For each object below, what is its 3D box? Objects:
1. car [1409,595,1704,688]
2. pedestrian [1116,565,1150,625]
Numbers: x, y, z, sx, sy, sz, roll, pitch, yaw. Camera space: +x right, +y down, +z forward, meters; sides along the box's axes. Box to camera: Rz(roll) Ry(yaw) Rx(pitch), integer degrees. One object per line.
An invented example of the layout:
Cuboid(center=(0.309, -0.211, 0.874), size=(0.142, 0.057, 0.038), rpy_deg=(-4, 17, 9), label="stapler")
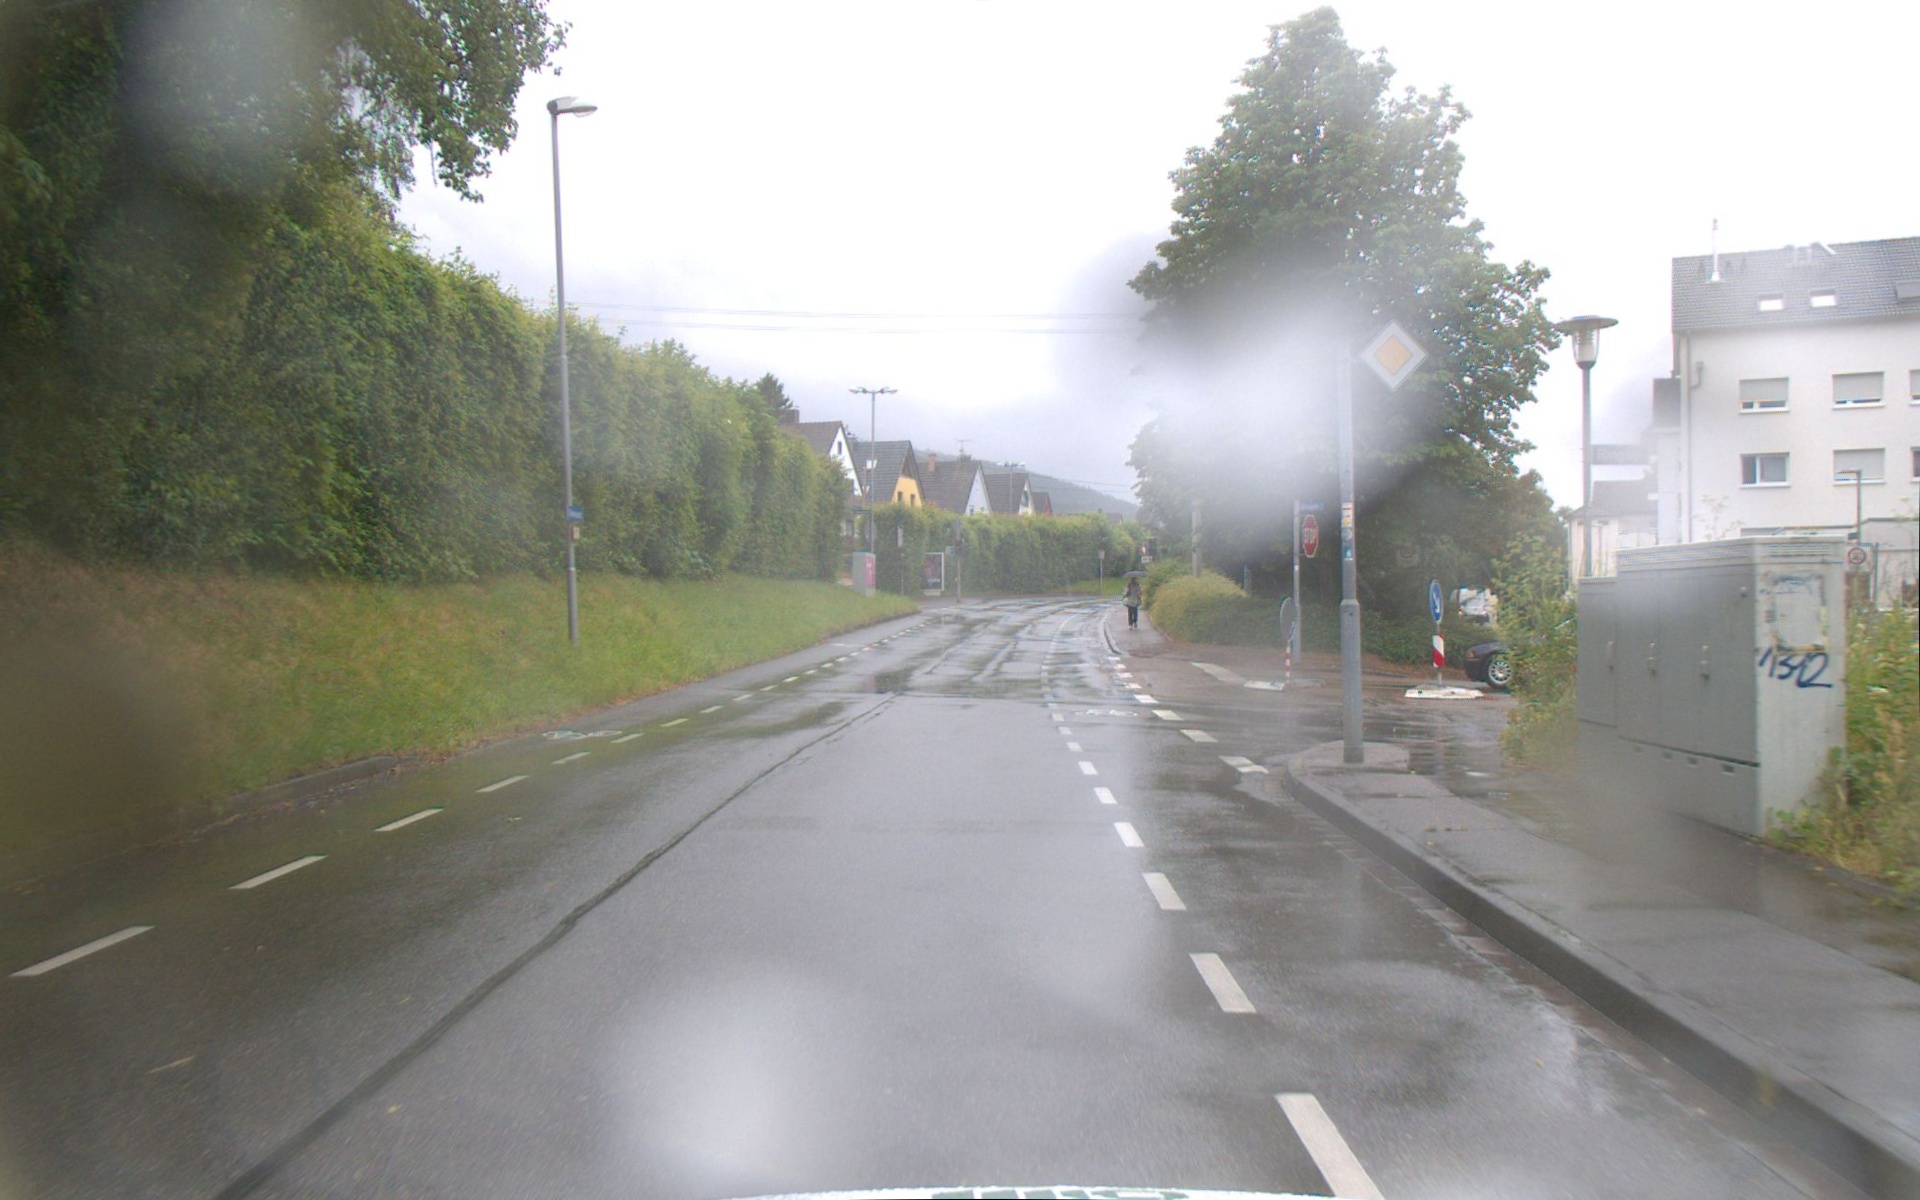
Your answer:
Cuboid(center=(10.422, 0.663, 29.012), size=(4.522, 1.412, 1.940), rpy_deg=(2, 1, 35), label="car")
Cuboid(center=(5.045, -0.166, 48.237), size=(0.900, 1.704, 1.058), rpy_deg=(-2, 1, 5), label="pedestrian")
